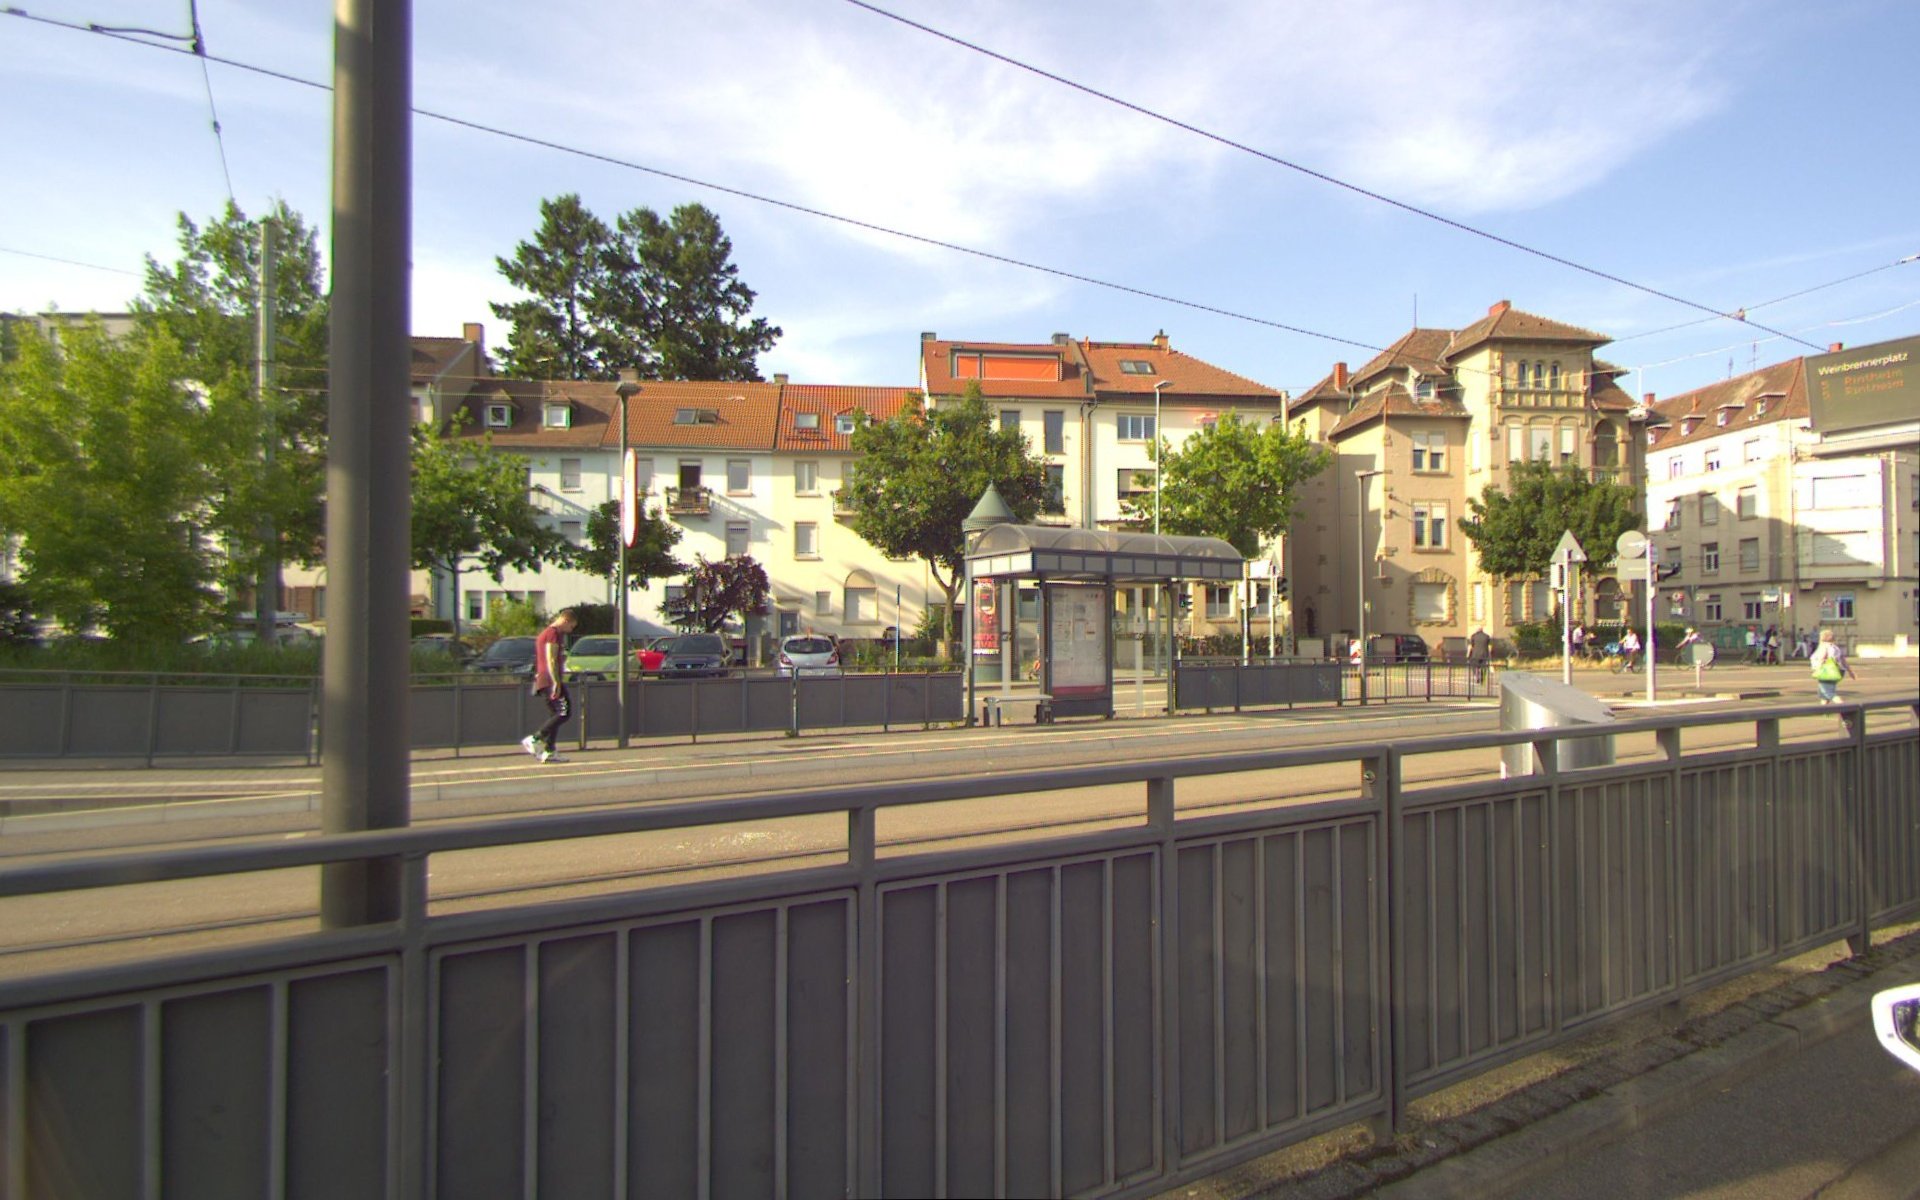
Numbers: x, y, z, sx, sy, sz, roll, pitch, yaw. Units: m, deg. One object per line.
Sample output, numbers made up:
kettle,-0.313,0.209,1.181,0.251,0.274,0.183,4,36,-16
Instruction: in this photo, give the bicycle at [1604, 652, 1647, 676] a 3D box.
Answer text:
bicycle,24.521,2.339,36.985,1.663,0.845,0.524,1,-2,-25

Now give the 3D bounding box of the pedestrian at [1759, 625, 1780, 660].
pedestrian,35.975,1.886,44.642,0.540,1.520,0.437,0,-2,-15

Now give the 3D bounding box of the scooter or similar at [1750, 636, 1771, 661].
scooter or similar,36.319,2.188,45.564,0.675,1.093,0.541,2,0,-30

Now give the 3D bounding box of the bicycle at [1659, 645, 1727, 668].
bicycle,29.784,2.283,40.818,2.954,0.926,0.783,1,-2,-22

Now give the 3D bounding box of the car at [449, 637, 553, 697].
car,-11.885,1.685,26.251,1.968,1.416,3.986,0,-2,-18

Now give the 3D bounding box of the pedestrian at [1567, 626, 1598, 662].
pedestrian,27.465,1.950,44.326,0.768,1.572,0.831,0,-2,-8

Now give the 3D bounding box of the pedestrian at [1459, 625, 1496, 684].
pedestrian,14.869,1.566,28.872,0.778,1.667,0.757,-1,-2,16

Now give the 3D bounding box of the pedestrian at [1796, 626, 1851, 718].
pedestrian,15.717,1.295,18.282,0.627,1.620,0.608,1,-2,-36

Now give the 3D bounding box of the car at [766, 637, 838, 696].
car,-4.350,1.772,27.822,1.815,1.505,3.995,0,-2,-9

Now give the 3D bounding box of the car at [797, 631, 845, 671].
car,-6.059,2.209,44.204,1.962,1.684,3.997,0,-2,-6

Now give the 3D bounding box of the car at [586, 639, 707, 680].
car,-11.228,2.133,36.245,3.927,1.416,1.836,0,-2,-9

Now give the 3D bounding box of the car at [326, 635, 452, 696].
car,-14.406,1.610,25.592,1.968,1.416,3.986,0,-2,-18

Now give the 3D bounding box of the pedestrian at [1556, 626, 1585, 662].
pedestrian,27.485,1.976,45.243,0.768,1.572,0.831,0,-2,-8

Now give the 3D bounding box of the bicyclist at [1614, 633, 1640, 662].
bicyclist,24.609,1.742,37.041,0.670,1.058,0.511,1,-2,-24

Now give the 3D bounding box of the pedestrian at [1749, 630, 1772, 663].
pedestrian,37.401,2.172,46.929,0.702,1.561,0.626,1,-2,-30

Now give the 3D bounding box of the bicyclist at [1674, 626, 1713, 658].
bicyclist,29.826,1.710,40.848,1.156,1.278,0.762,1,-2,-20

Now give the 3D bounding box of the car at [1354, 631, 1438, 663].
car,20.369,2.177,47.124,1.732,1.327,4.111,2,0,-7

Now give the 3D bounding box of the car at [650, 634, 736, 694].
car,-7.168,1.691,27.284,1.815,1.505,3.995,0,-2,-9

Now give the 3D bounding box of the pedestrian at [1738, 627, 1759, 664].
pedestrian,35.606,2.066,45.368,0.601,1.647,0.506,1,-2,-29

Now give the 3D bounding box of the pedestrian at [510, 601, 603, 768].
pedestrian,-4.335,0.898,10.795,0.867,1.706,0.551,1,-5,-30

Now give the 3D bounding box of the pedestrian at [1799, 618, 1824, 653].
pedestrian,49.394,2.052,58.289,0.773,2.040,0.775,0,-2,-15

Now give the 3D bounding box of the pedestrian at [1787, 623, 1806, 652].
pedestrian,48.428,2.177,58.156,0.576,1.682,0.620,0,-2,-14

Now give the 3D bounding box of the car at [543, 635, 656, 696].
car,-9.665,1.721,27.260,1.813,1.505,3.999,0,-2,-3

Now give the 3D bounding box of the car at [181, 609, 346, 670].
car,-18.667,1.064,27.174,1.813,1.505,3.999,0,-2,-3
